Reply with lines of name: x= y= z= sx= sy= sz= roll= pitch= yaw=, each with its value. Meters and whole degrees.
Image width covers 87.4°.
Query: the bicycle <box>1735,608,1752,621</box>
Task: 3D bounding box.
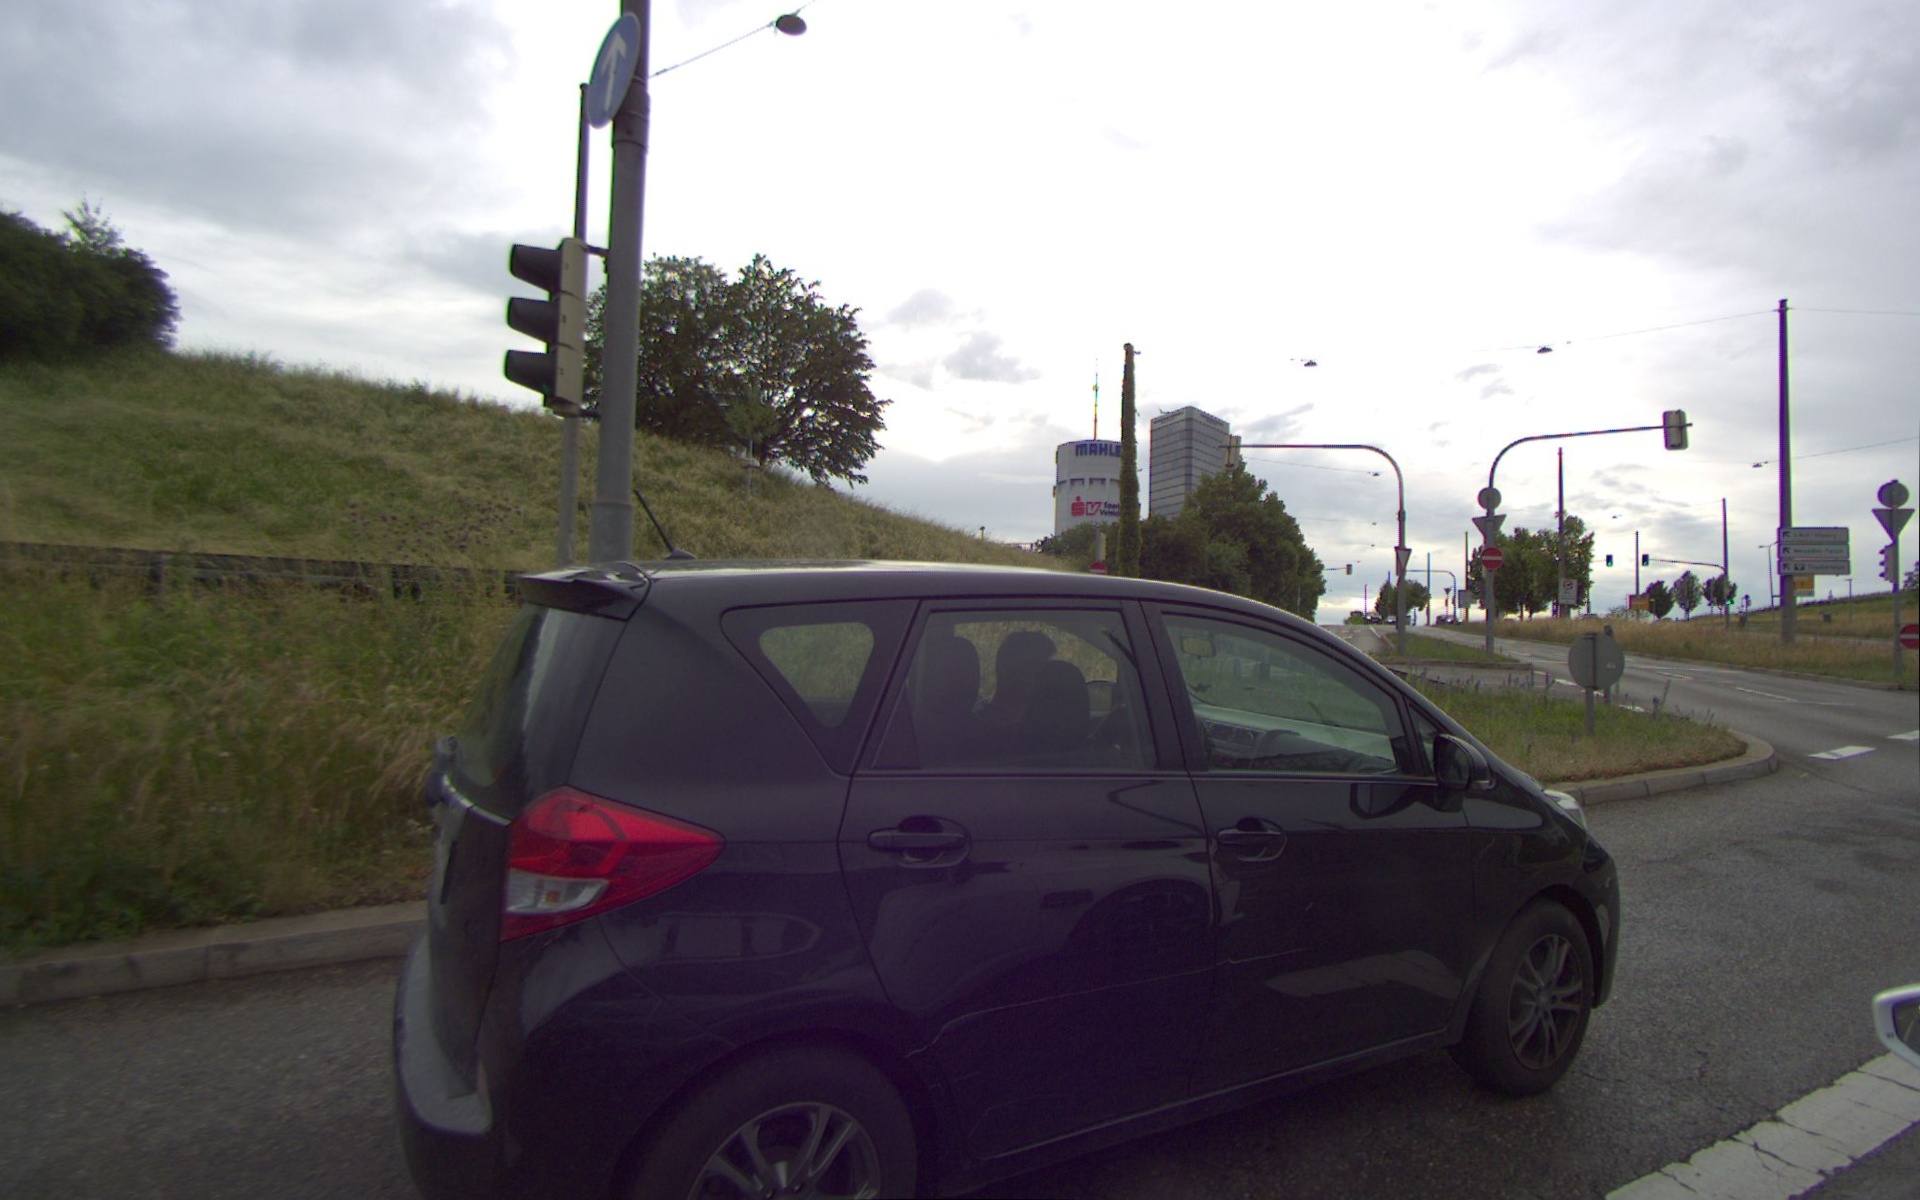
bicycle: x=72.110 y=1.357 z=92.448 sx=0.622 sy=1.119 sz=1.754 roll=-1 pitch=-2 yaw=16

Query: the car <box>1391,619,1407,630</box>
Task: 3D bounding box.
car: x=62.215 y=3.490 z=142.454 sx=1.779 sy=1.489 sz=3.613 roll=2 pitch=0 yaw=20

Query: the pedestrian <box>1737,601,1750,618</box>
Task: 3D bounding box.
pedestrian: x=72.109 y=0.858 z=92.473 sx=0.622 sy=1.591 sz=0.896 roll=-1 pitch=-1 yaw=17

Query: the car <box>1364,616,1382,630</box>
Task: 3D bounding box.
car: x=51.535 y=2.896 z=125.475 sx=1.830 sy=1.642 sz=4.000 roll=1 pitch=0 yaw=19

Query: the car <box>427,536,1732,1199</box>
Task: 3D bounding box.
car: x=0.513 y=0.711 z=3.333 sx=3.994 sy=1.586 sz=1.788 roll=1 pitch=1 yaw=-29

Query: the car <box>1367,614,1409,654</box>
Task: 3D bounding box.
car: x=22.898 y=1.801 z=53.751 sx=1.962 sy=2.040 sz=3.998 roll=-1 pitch=-2 yaw=23
